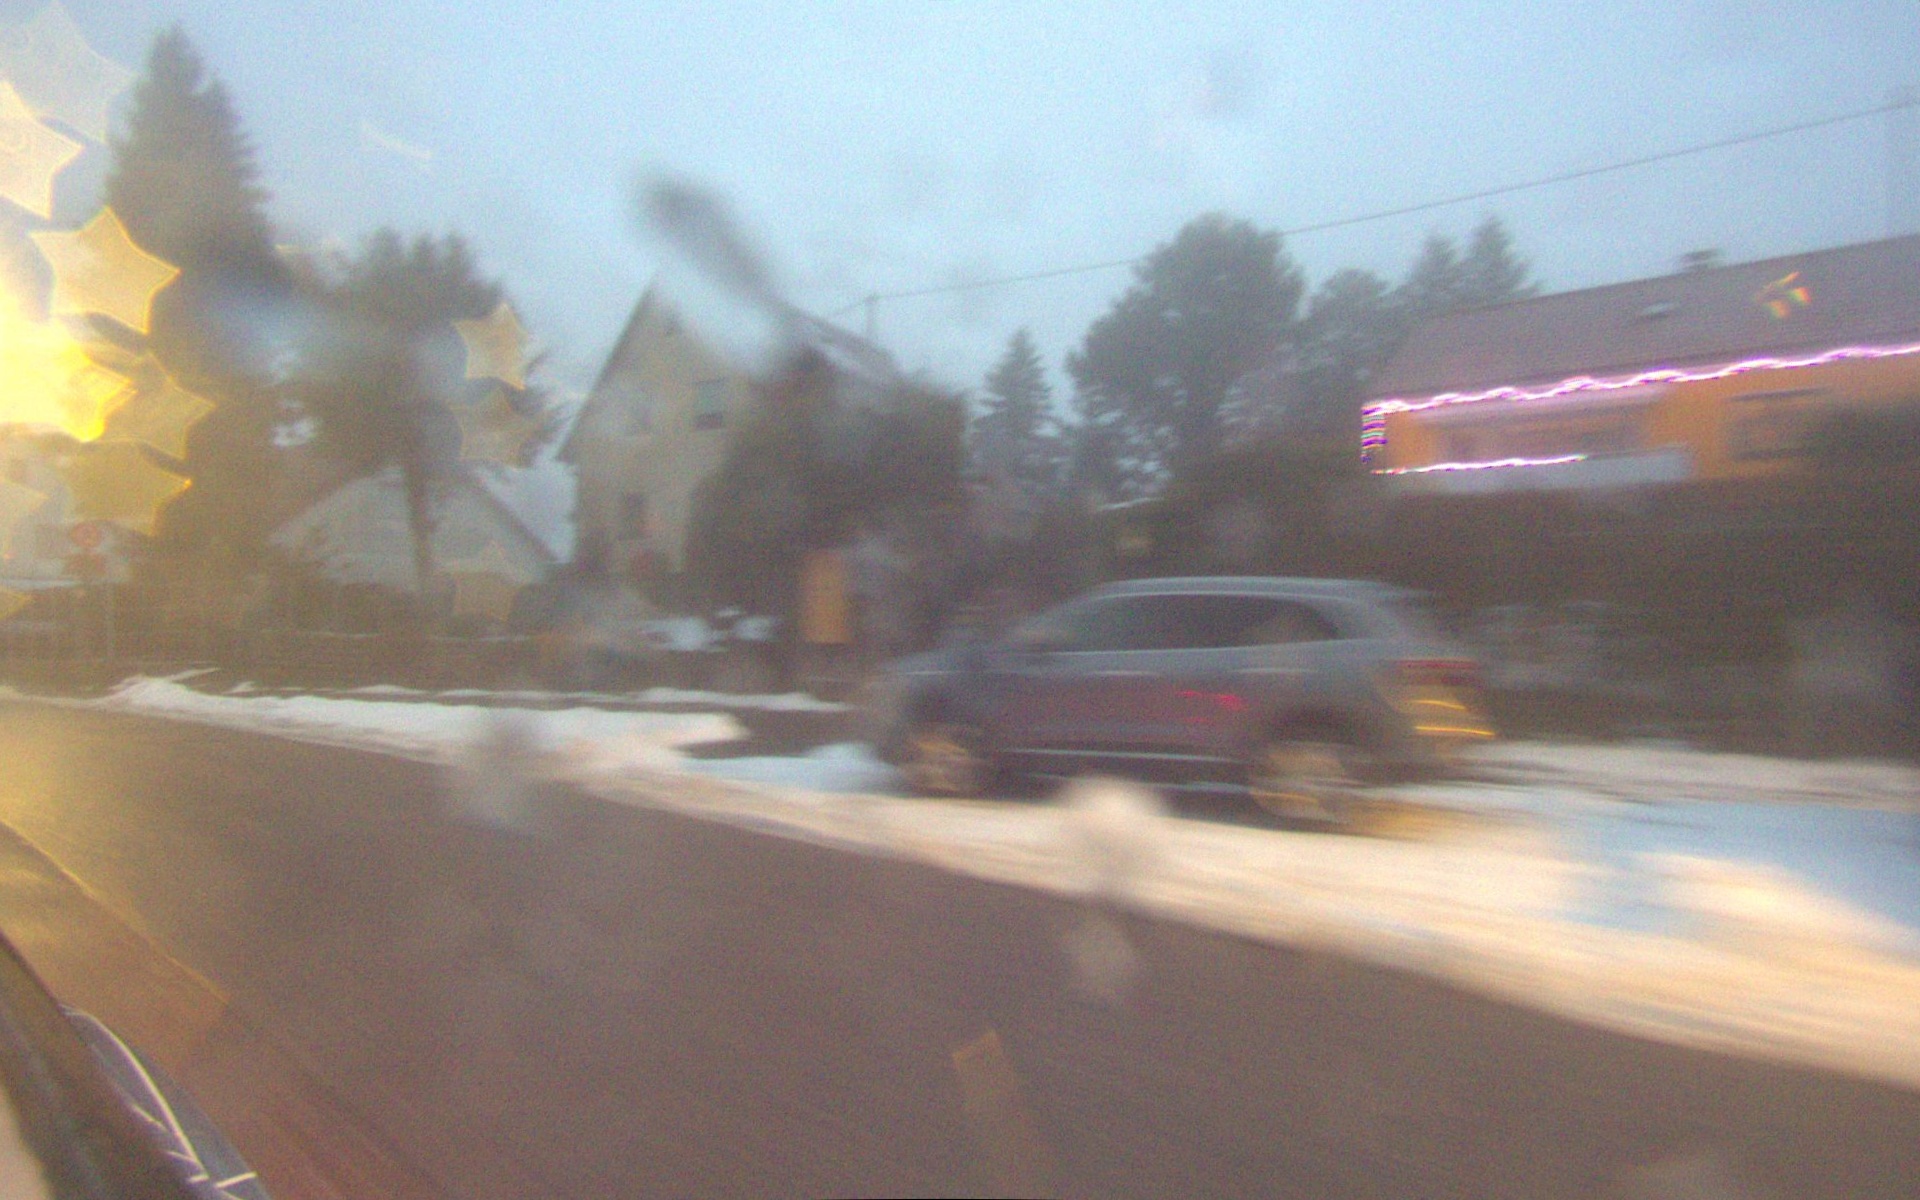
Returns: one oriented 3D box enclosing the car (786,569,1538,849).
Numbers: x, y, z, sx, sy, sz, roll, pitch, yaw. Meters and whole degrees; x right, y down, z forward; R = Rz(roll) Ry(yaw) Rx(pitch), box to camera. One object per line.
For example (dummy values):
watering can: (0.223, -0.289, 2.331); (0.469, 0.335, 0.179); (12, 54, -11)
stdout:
car: (1.355, 0.658, 7.625); (4.965, 1.578, 1.985); (0, -3, 23)

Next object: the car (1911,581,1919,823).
car: (6.008, 0.586, 4.220); (2.104, 1.578, 4.492); (-1, -2, 32)
